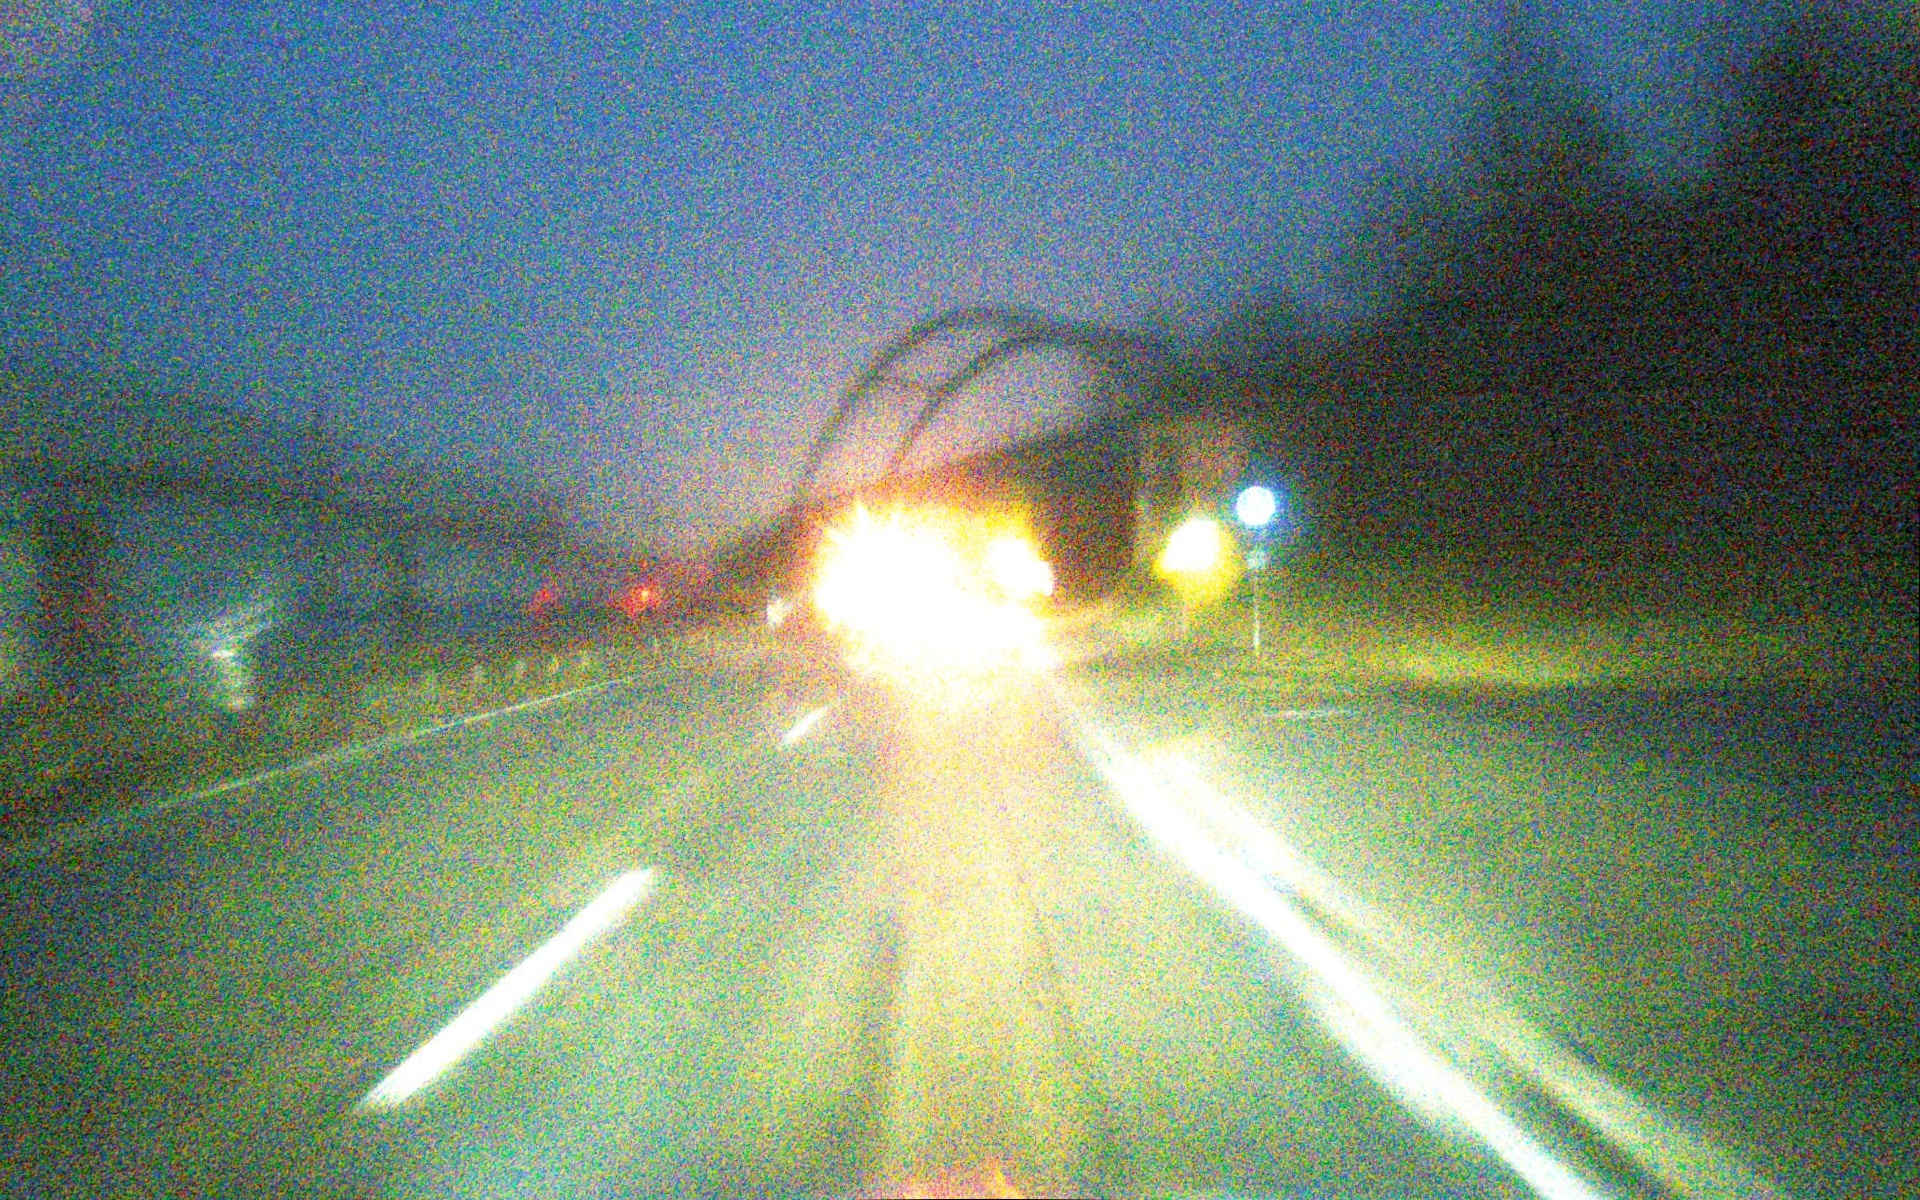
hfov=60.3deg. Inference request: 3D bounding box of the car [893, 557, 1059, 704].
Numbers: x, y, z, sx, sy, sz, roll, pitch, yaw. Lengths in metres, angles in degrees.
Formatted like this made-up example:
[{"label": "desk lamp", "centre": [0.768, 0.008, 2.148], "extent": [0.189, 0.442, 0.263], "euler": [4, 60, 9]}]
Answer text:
[{"label": "car", "centre": [0.265, 0.464, 29.614], "extent": [2.660, 2.348, 6.100], "euler": [0, 0, 0]}]
